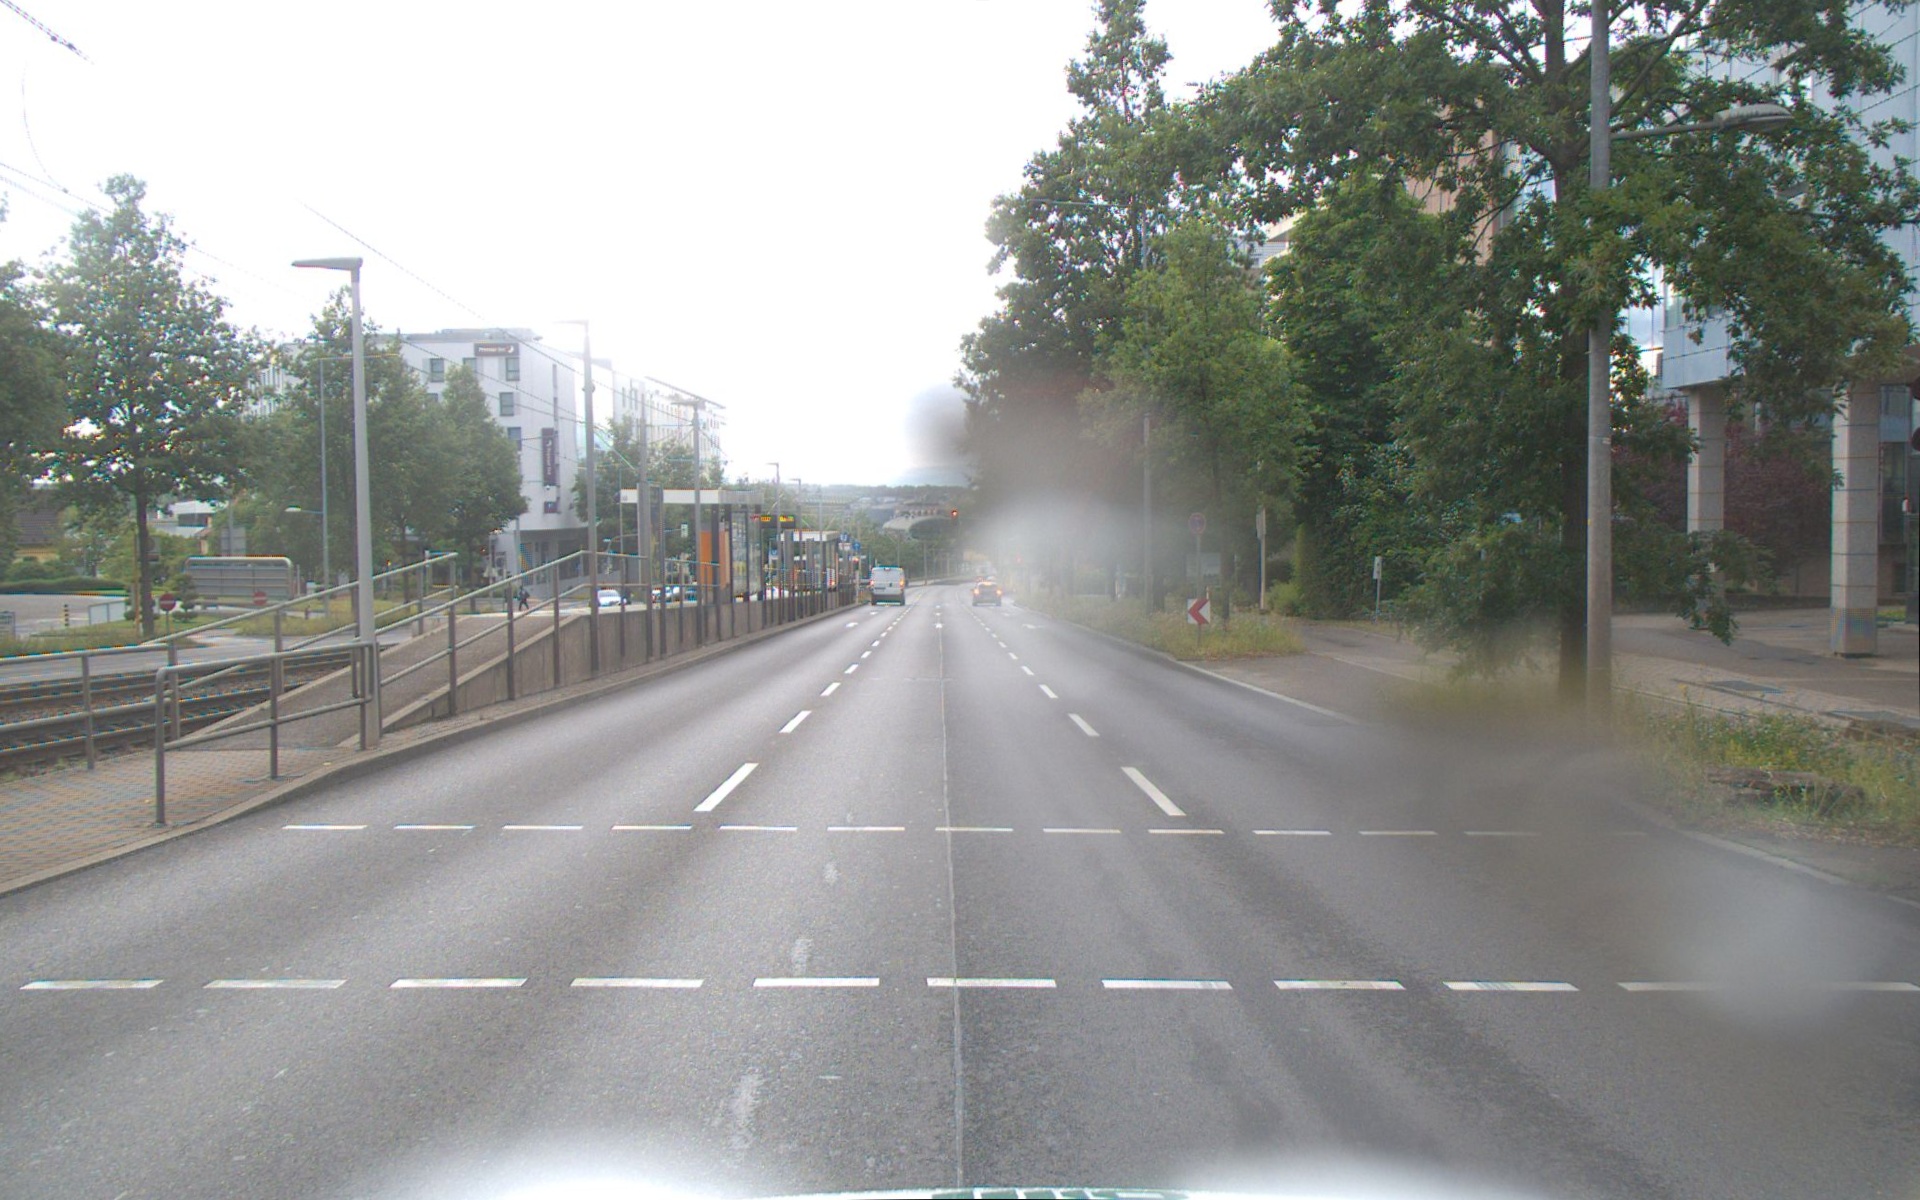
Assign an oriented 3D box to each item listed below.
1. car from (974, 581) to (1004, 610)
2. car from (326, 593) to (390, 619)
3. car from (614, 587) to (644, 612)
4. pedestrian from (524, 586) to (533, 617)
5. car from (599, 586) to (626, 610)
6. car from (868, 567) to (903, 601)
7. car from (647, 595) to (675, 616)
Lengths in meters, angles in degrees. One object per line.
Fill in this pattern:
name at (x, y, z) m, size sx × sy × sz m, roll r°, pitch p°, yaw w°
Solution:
car at (1.783, -0.292, 102.812) m, size 1.738 × 1.720 × 3.845 m, roll 0°, pitch 1°, yaw -1°
car at (-34.901, 0.337, 95.857) m, size 3.297 × 1.411 × 1.434 m, roll 0°, pitch 1°, yaw 16°
car at (-20.688, -0.055, 103.203) m, size 1.622 × 1.461 × 3.866 m, roll -2°, pitch 1°, yaw -14°
pedestrian at (-27.810, 0.081, 106.545) m, size 0.465 × 1.954 × 0.490 m, roll 0°, pitch 0°, yaw -1°
car at (-22.950, -0.127, 109.302) m, size 1.621 × 1.461 × 3.868 m, roll -2°, pitch 1°, yaw -12°
car at (-4.573, -0.996, 102.348) m, size 2.050 × 2.089 × 4.605 m, roll 0°, pitch 1°, yaw -1°
car at (-21.142, 0.401, 117.055) m, size 1.536 × 1.402 × 3.517 m, roll 0°, pitch 1°, yaw -3°
